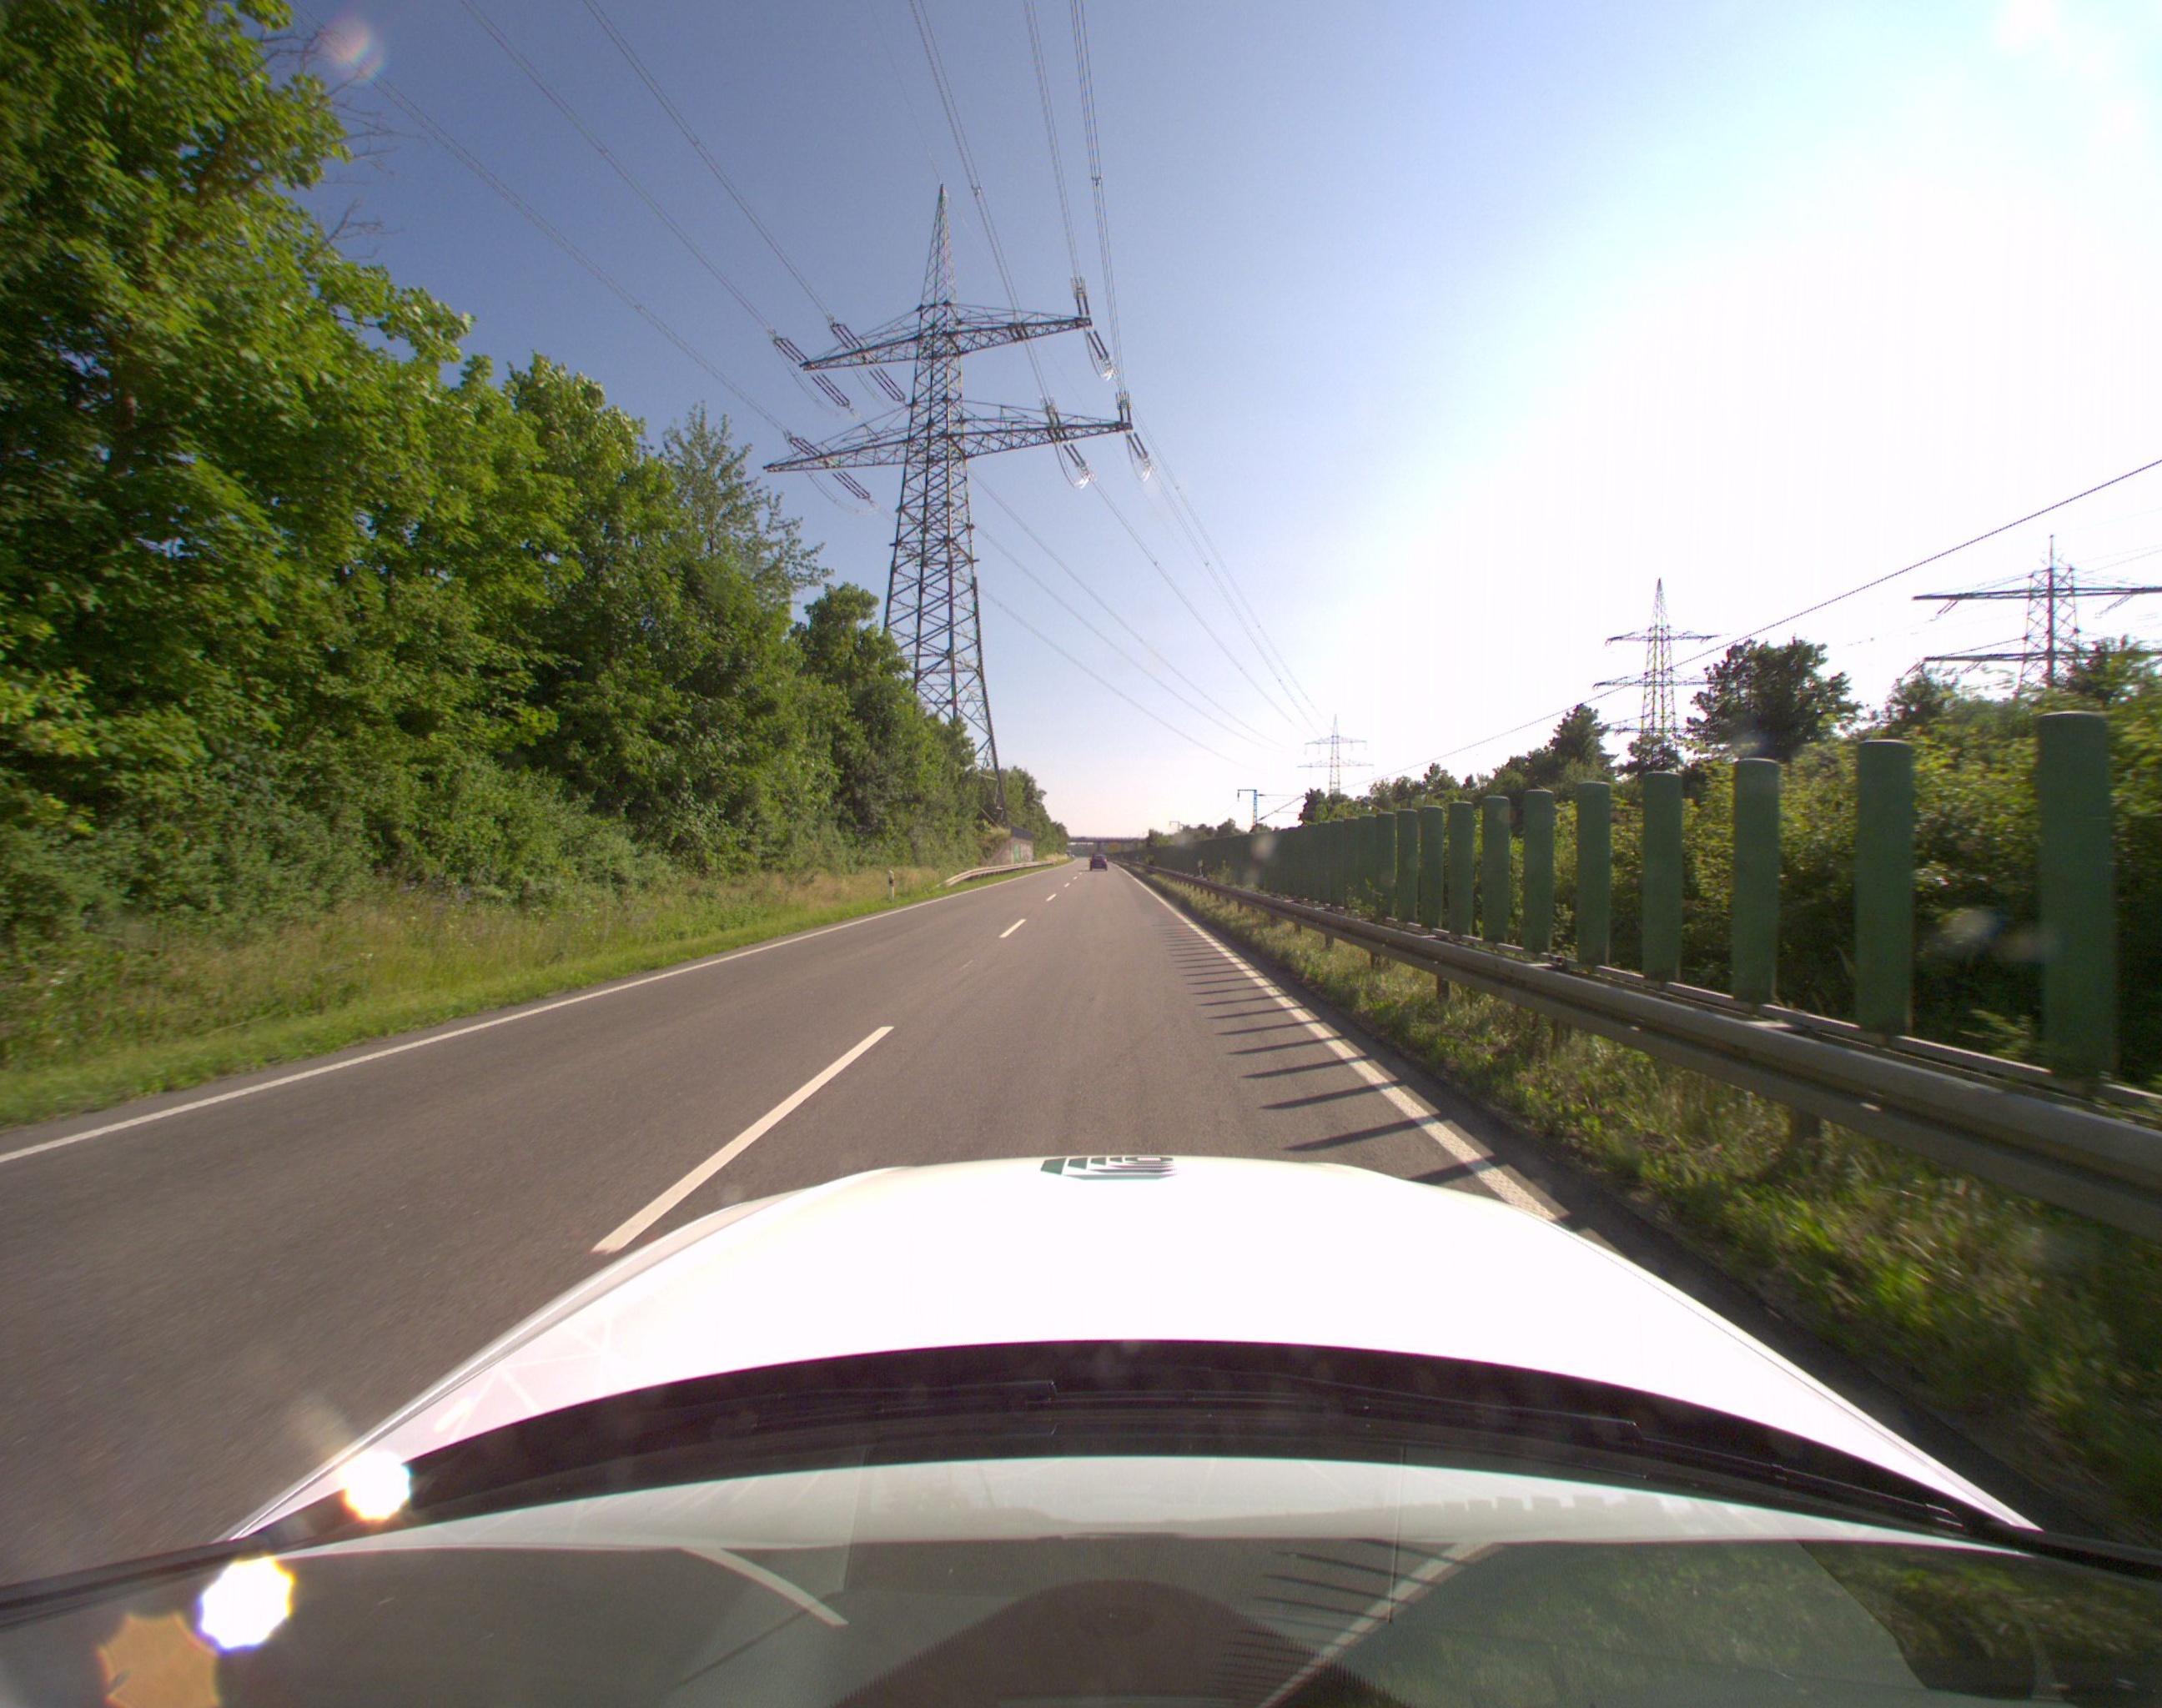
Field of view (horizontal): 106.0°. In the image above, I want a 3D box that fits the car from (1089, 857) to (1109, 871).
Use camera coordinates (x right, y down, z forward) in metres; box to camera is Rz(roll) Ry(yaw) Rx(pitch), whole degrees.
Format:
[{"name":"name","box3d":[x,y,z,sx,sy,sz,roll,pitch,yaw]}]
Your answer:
[{"name":"car","box3d":[1.658,0.902,76.056,1.658,1.261,3.998,0,0,-1]}]
